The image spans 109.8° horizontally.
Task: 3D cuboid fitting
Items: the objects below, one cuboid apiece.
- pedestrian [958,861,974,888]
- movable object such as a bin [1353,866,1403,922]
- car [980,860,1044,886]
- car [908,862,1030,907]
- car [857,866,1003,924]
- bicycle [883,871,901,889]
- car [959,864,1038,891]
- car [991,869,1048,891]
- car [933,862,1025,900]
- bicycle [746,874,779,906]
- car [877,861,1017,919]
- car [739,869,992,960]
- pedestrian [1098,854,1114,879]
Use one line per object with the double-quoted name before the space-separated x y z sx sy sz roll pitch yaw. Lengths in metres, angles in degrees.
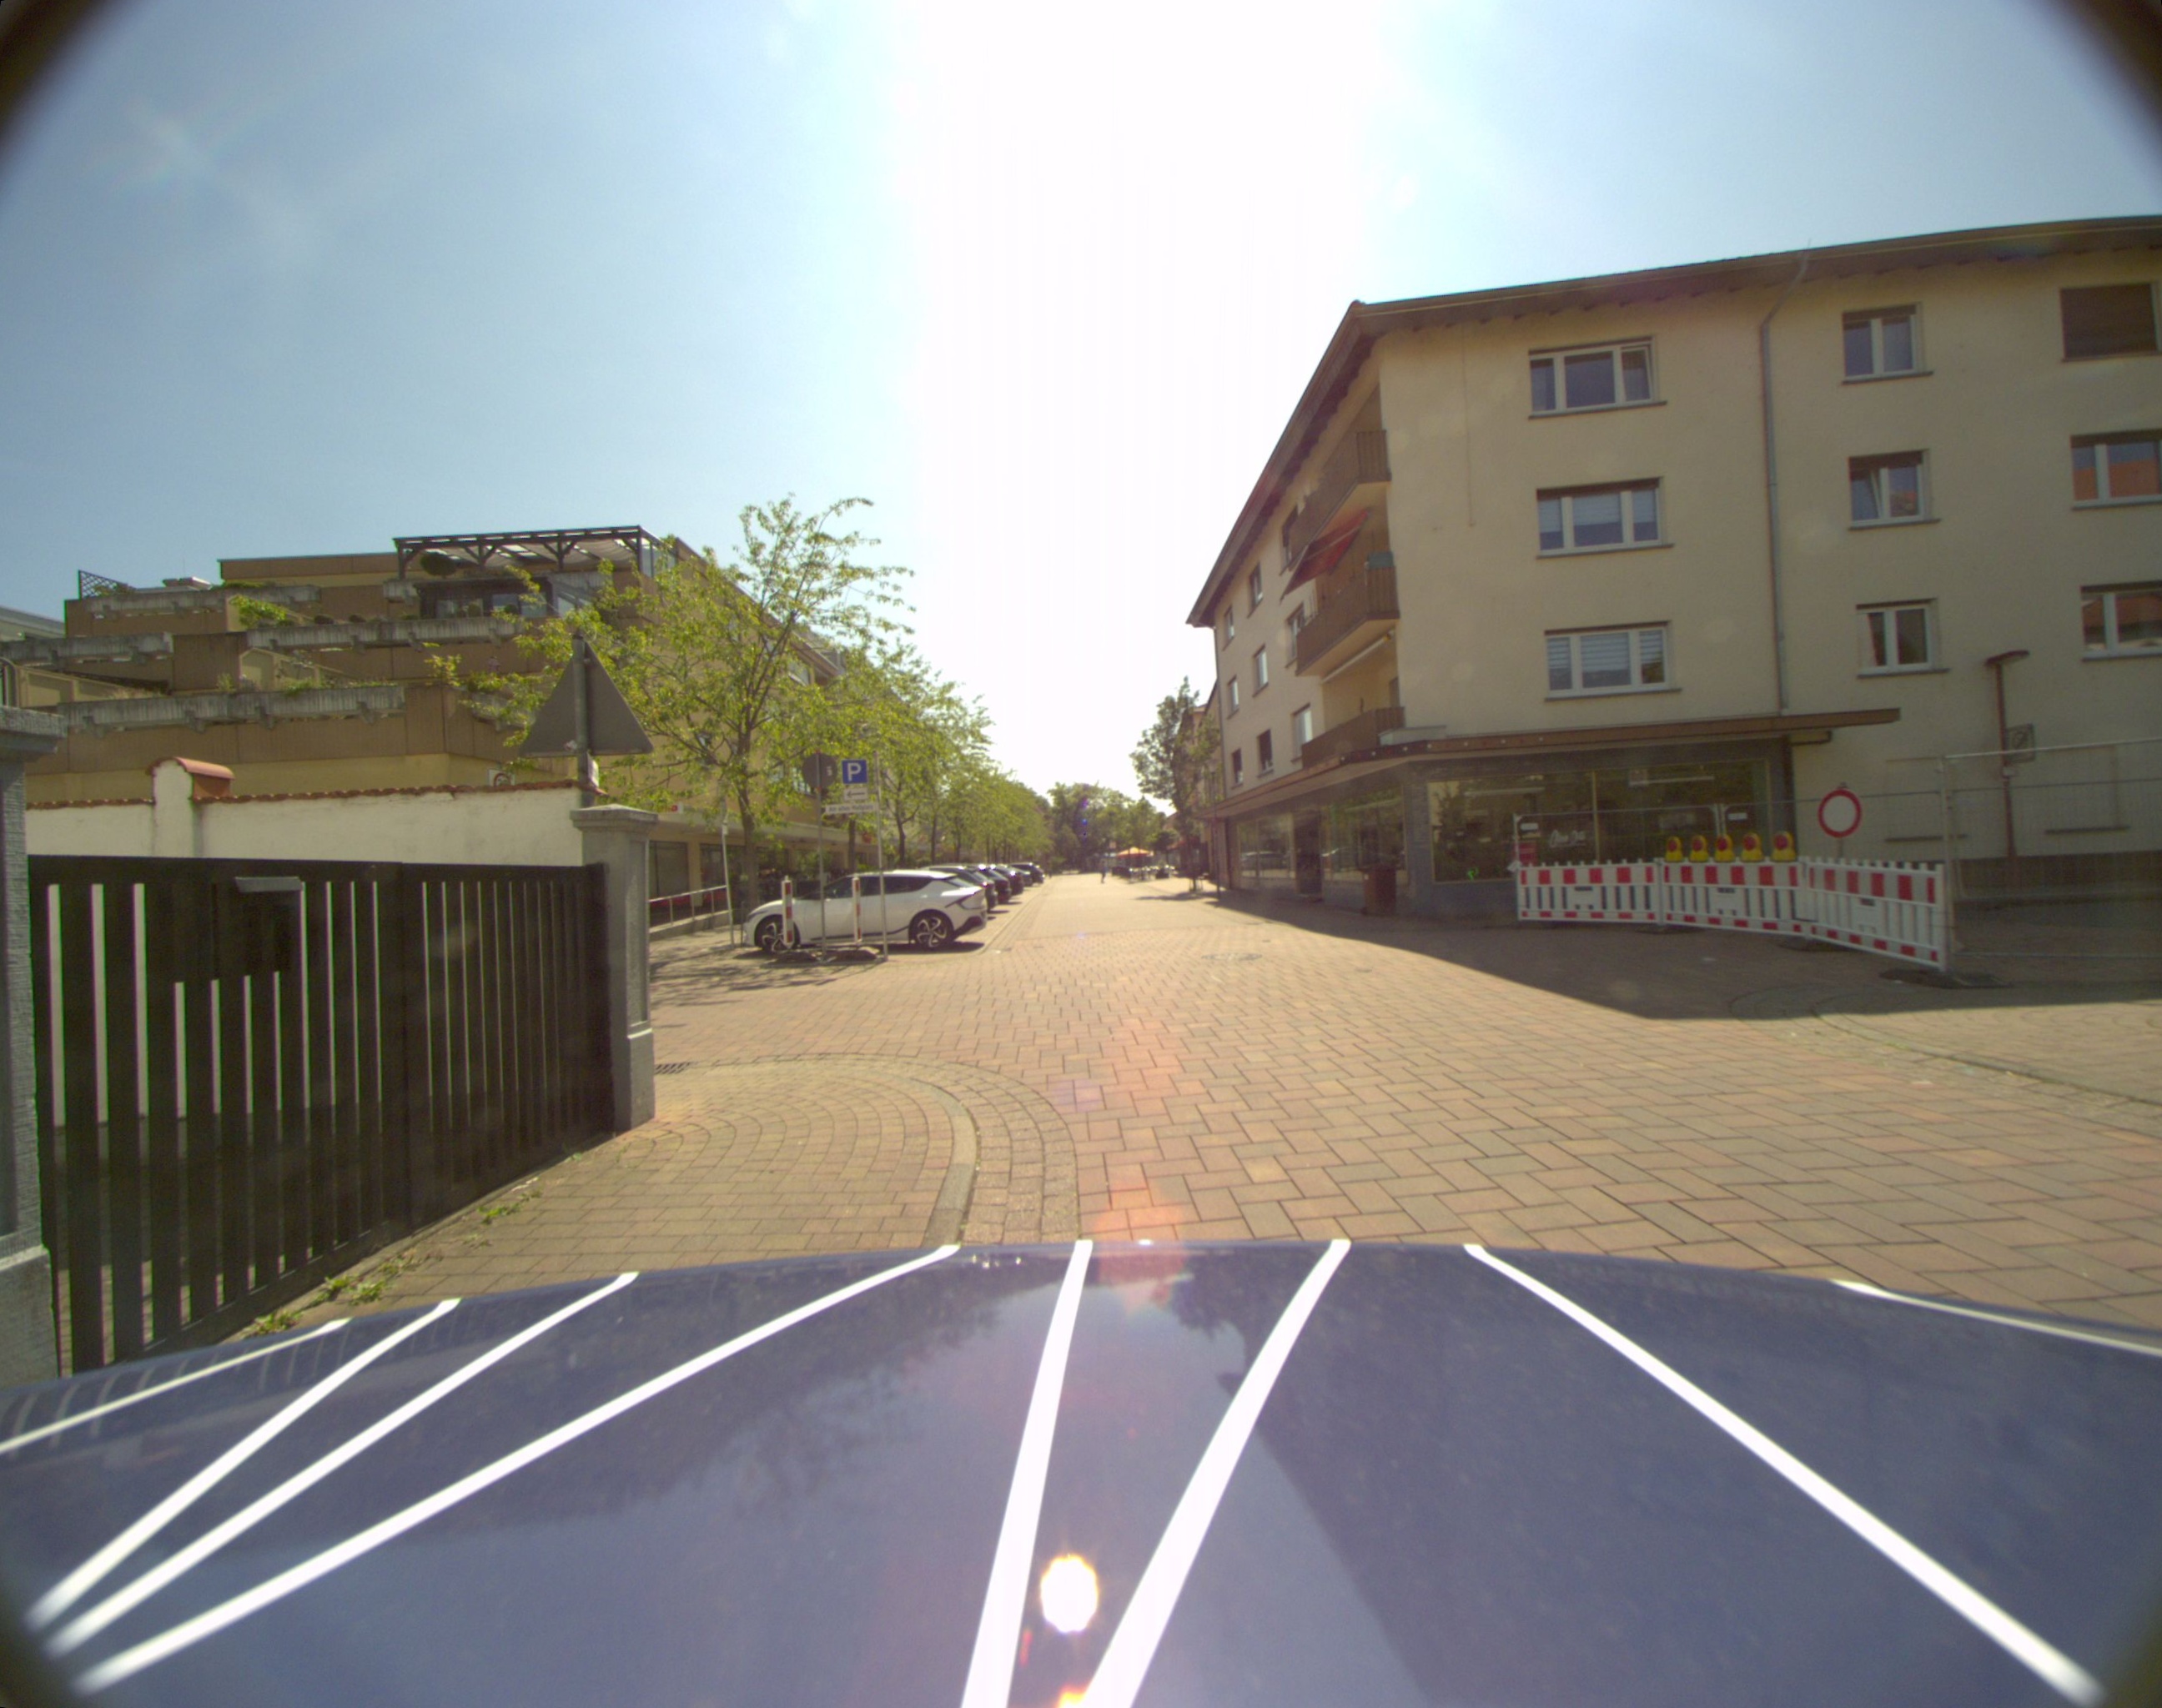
"pedestrian" -7.509 1.356 49.740 0.614 1.720 0.649 -4 1 33
"movable object such as a bin" 6.120 0.810 15.656 0.657 1.064 0.663 -4 0 -7
"car" -4.683 1.294 52.251 4.255 1.608 1.756 -2 0 -2
"car" -4.422 1.195 30.426 4.519 1.579 1.850 -2 0 1
"car" -4.361 1.180 22.487 3.954 1.525 1.824 -1 0 -2
"bicycle" -12.609 1.745 50.735 0.643 1.075 1.866 -4 0 -1
"car" -5.036 1.398 46.229 4.390 1.455 1.888 -2 0 -19
"car" -5.102 2.151 63.666 4.586 1.534 1.807 -4 -1 0
"car" -4.666 1.228 35.234 4.037 1.602 1.681 -1 0 -2
"bicycle" -12.436 1.389 29.731 0.413 1.117 1.774 -4 0 1
"car" -4.355 1.158 25.264 4.291 1.671 2.000 -2 0 -3
"car" -4.111 1.140 15.026 4.452 1.566 1.789 -1 0 -1
"pedestrian" 1.834 0.936 56.198 0.758 1.770 0.872 -3 0 36
